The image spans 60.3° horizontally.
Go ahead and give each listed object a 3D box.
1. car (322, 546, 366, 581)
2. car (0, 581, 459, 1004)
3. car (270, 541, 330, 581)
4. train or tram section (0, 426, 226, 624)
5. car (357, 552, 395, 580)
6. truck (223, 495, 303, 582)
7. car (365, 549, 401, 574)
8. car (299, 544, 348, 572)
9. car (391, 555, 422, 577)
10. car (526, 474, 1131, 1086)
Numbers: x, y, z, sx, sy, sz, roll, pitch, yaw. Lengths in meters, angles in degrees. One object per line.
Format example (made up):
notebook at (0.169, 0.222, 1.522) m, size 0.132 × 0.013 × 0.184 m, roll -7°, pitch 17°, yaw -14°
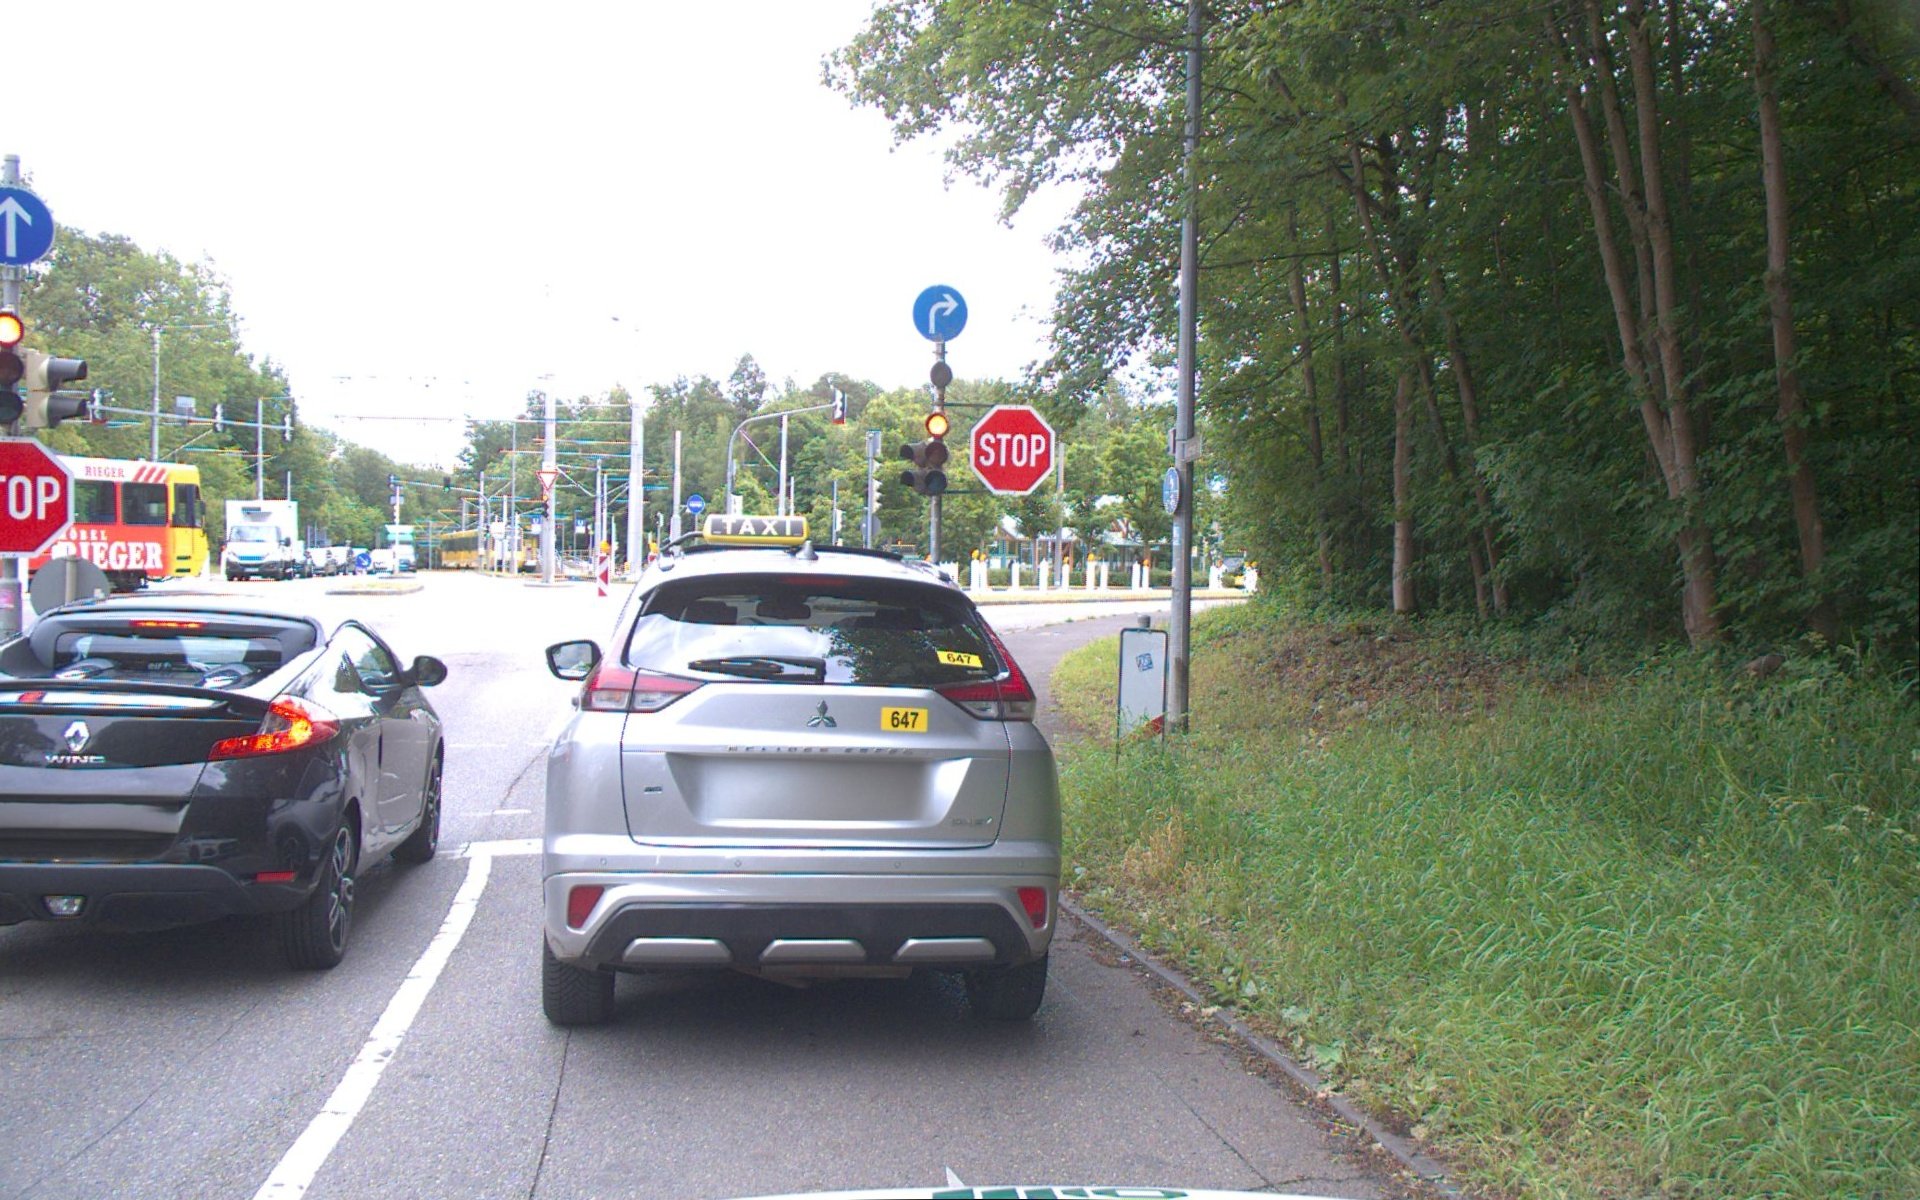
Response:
car at (-34.968, -2.094, 93.998) m, size 1.930 × 1.877 × 4.670 m, roll 1°, pitch 1°, yaw -16°
car at (-3.310, 0.628, 7.307) m, size 1.742 × 1.385 × 3.467 m, roll 0°, pitch 1°, yaw -11°
car at (-30.711, -1.808, 77.111) m, size 1.928 × 1.780 × 4.829 m, roll 1°, pitch 1°, yaw -14°
train or tram section at (-25.029, -1.835, 37.908) m, size 2.886 × 4.732 × 18.548 m, roll 1°, pitch 0°, yaw 20°
car at (-35.600, -2.104, 100.882) m, size 1.930 × 1.635 × 4.292 m, roll 1°, pitch 1°, yaw -16°
truck at (-28.026, -2.421, 66.694) m, size 2.411 × 3.280 × 7.118 m, roll 0°, pitch 1°, yaw -19°
car at (-37.044, -2.468, 106.277) m, size 1.930 × 1.568 × 4.378 m, roll 1°, pitch 1°, yaw -16°
car at (-33.212, -2.195, 86.426) m, size 1.930 × 1.385 × 4.670 m, roll 1°, pitch 1°, yaw -16°
car at (-39.951, -2.478, 119.462) m, size 1.930 × 1.567 × 4.292 m, roll 1°, pitch 1°, yaw -16°
car at (-0.658, 0.519, 6.812) m, size 1.741 × 1.778 × 3.773 m, roll 2°, pitch 1°, yaw -9°
